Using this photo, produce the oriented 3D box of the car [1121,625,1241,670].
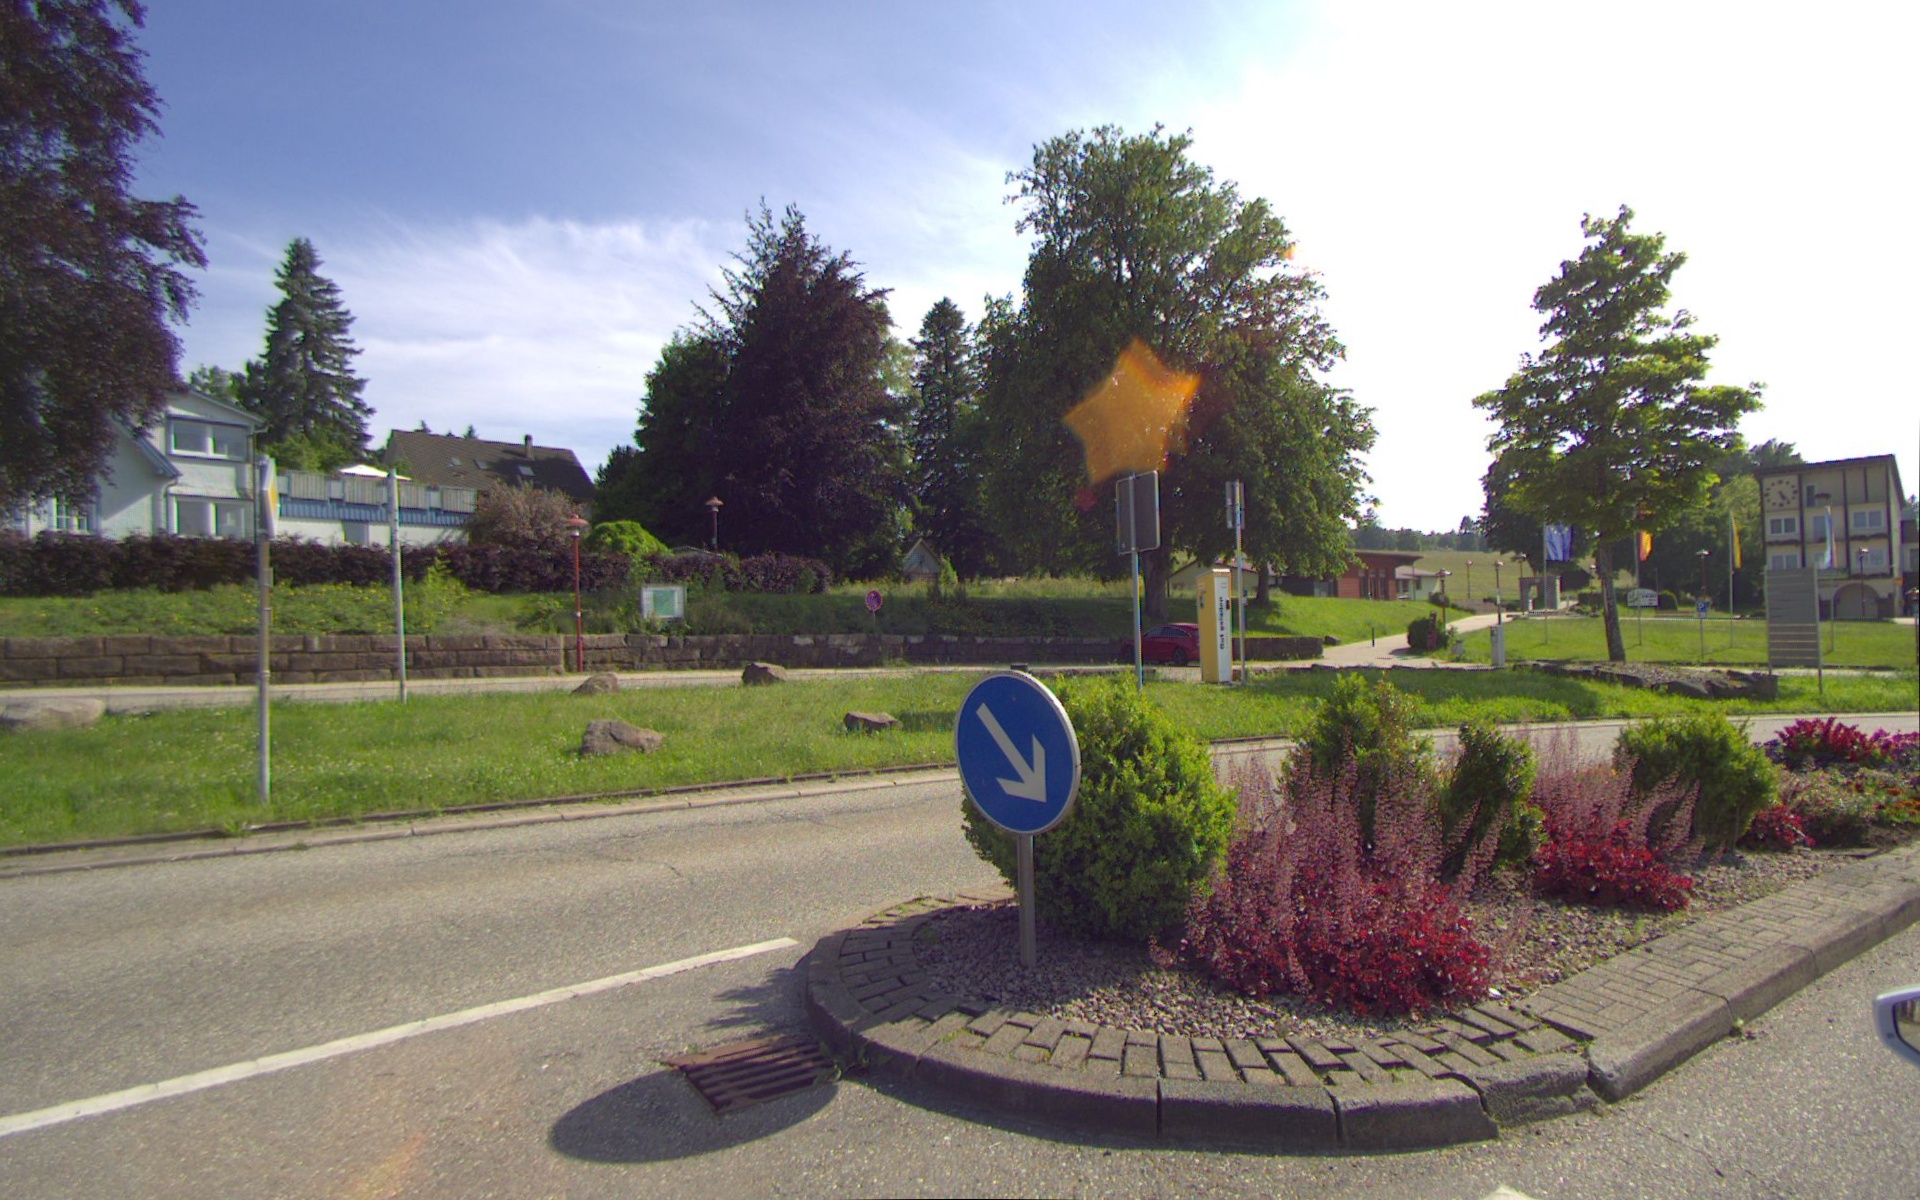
[{"bbox_3d":[7.629,1.610,35.114,1.801,1.417,4.207,1,-1,-28],"label":"car"}]
